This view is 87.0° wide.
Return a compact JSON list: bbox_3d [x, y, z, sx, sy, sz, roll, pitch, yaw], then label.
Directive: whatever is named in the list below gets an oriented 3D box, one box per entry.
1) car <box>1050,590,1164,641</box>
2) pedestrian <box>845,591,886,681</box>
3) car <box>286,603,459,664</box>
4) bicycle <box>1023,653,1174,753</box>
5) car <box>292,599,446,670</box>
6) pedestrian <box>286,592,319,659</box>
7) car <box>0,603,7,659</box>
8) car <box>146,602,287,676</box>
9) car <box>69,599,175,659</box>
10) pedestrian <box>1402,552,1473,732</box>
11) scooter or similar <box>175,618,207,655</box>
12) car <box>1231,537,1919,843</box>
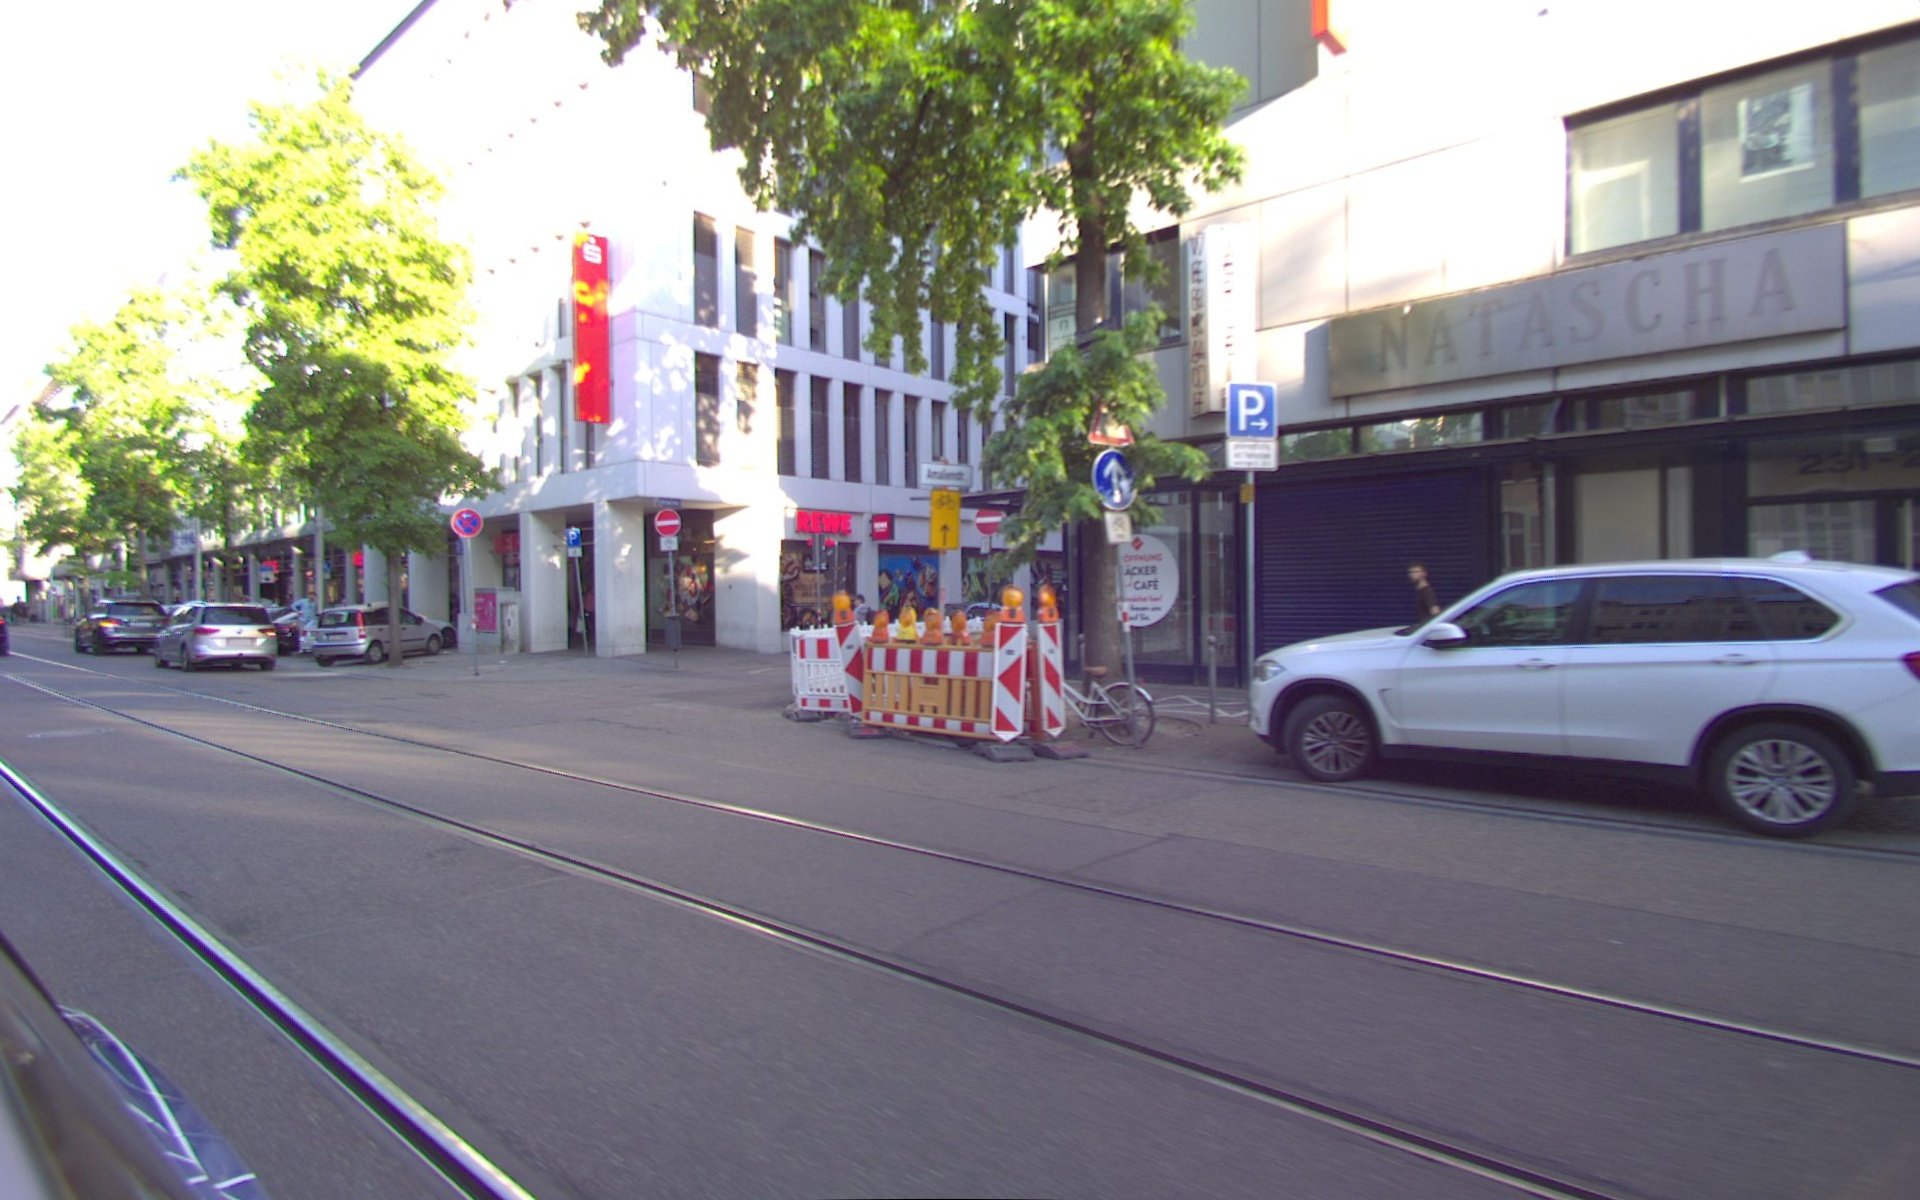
[{"bbox_3d":[4.882,0.488,33.341,1.840,1.553,3.945,-2,-1,41],"label":"car"},{"bbox_3d":[-1.785,0.671,19.113,0.601,1.658,0.728,-1,0,-18],"label":"pedestrian"},{"bbox_3d":[-17.078,0.922,29.662,1.568,1.423,4.286,-1,3,23],"label":"car"},{"bbox_3d":[1.378,1.015,10.287,0.496,0.843,1.536,-4,3,-43],"label":"bicycle"},{"bbox_3d":[-15.599,0.874,26.902,1.769,1.571,3.392,-1,3,9],"label":"car"},{"bbox_3d":[-19.394,0.745,29.862,0.723,1.948,0.647,-1,-1,43],"label":"pedestrian"},{"bbox_3d":[-31.269,0.968,31.433,4.198,1.699,2.013,-1,0,41],"label":"car"},{"bbox_3d":[-18.078,0.916,24.551,4.198,1.624,1.865,-1,-2,41],"label":"car"},{"bbox_3d":[-27.354,0.925,33.007,4.198,1.820,2.012,-1,-1,41],"label":"car"},{"bbox_3d":[5.604,0.477,11.876,0.592,2.029,0.608,-1,-1,40],"label":"pedestrian"},{"bbox_3d":[-27.223,1.270,35.806,2.126,1.258,0.572,-1,-1,44],"label":"scooter or similar"},{"bbox_3d":[4.749,0.502,7.796,4.741,1.767,1.973,-1,2,41],"label":"car"}]
